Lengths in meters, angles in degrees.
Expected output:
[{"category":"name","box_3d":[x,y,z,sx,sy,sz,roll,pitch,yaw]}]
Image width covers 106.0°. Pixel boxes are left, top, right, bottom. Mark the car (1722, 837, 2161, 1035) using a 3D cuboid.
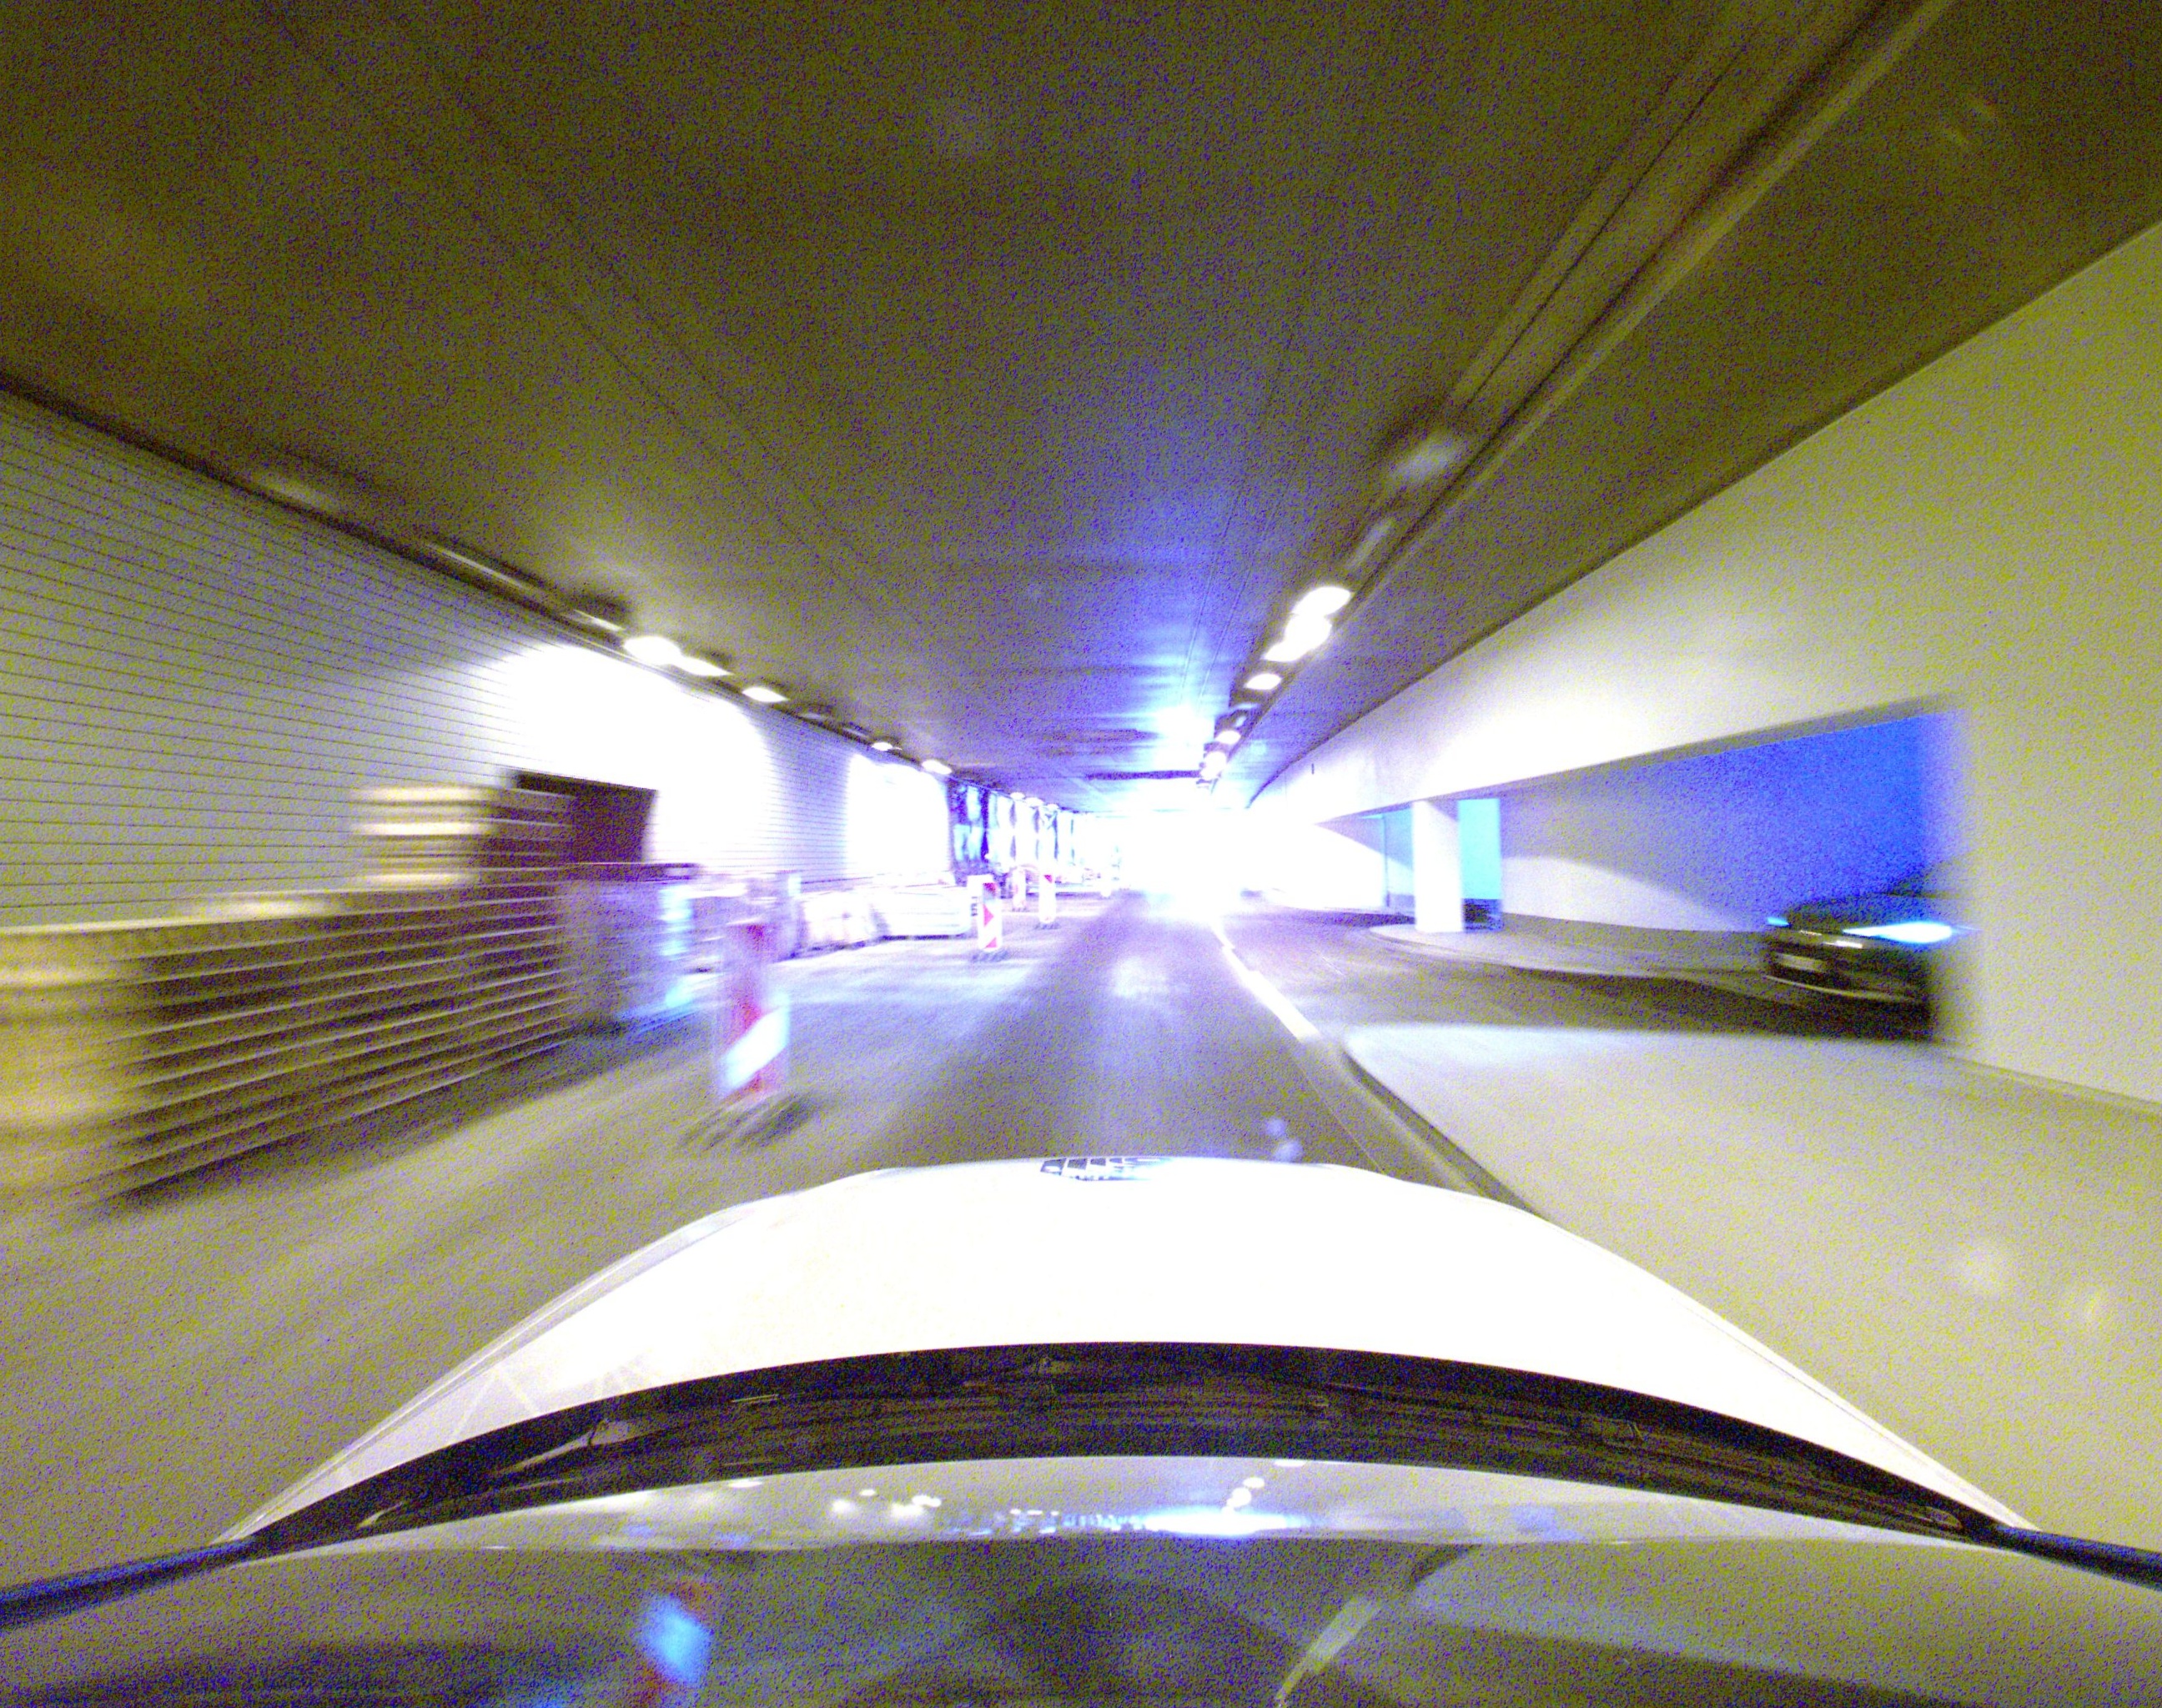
[{"category":"car","box_3d":[8.675,0.647,7.307,4.204,1.546,1.901,-1,-1,7]}]
